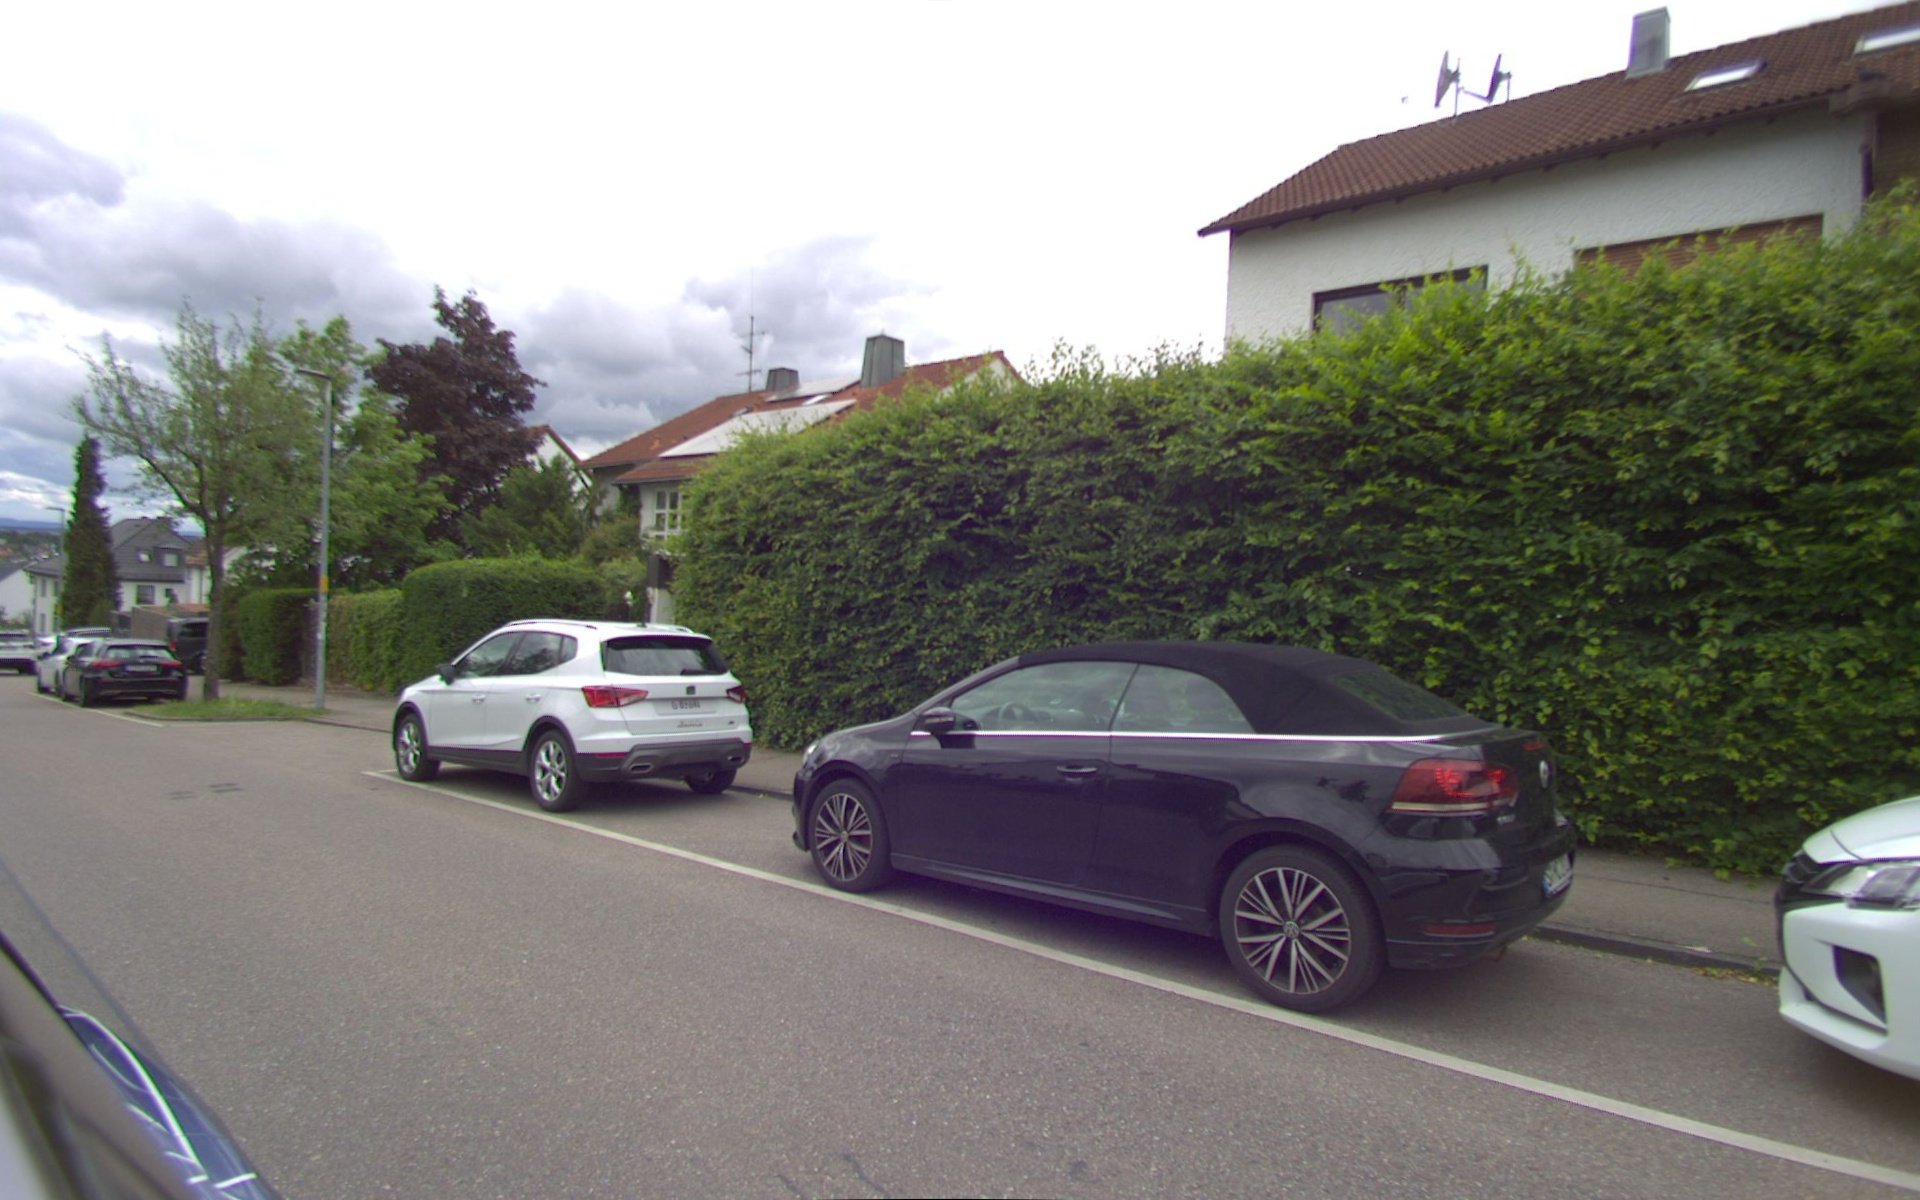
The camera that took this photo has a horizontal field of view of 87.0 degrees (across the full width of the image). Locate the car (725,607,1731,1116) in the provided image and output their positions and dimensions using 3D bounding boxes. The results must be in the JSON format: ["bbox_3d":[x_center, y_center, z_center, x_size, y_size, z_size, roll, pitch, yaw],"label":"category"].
[{"bbox_3d":[0.969,0.871,5.257,4.736,1.501,1.763,-1,-5,41],"label":"car"}]

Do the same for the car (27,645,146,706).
[{"bbox_3d":[-22.069,1.849,25.521,3.998,1.386,1.703,-2,-3,41],"label":"car"}]

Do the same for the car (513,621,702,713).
[{"bbox_3d":[-6.318,1.160,18.283,1.500,1.517,2.848,-2,-3,45],"label":"car"}]

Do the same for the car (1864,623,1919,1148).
[{"bbox_3d":[4.471,0.793,2.271,3.578,1.430,1.672,-2,-5,41],"label":"car"}]

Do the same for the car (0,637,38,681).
[{"bbox_3d":[-35.782,2.148,37.531,3.998,1.541,1.910,-1,-2,41],"label":"car"}]

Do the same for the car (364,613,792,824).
[{"bbox_3d":[-3.678,0.921,9.362,4.339,1.501,1.866,-2,-3,41],"label":"car"}]

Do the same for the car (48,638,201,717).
[{"bbox_3d":[-18.347,1.619,22.169,4.003,1.561,1.919,-2,-3,41],"label":"car"}]
